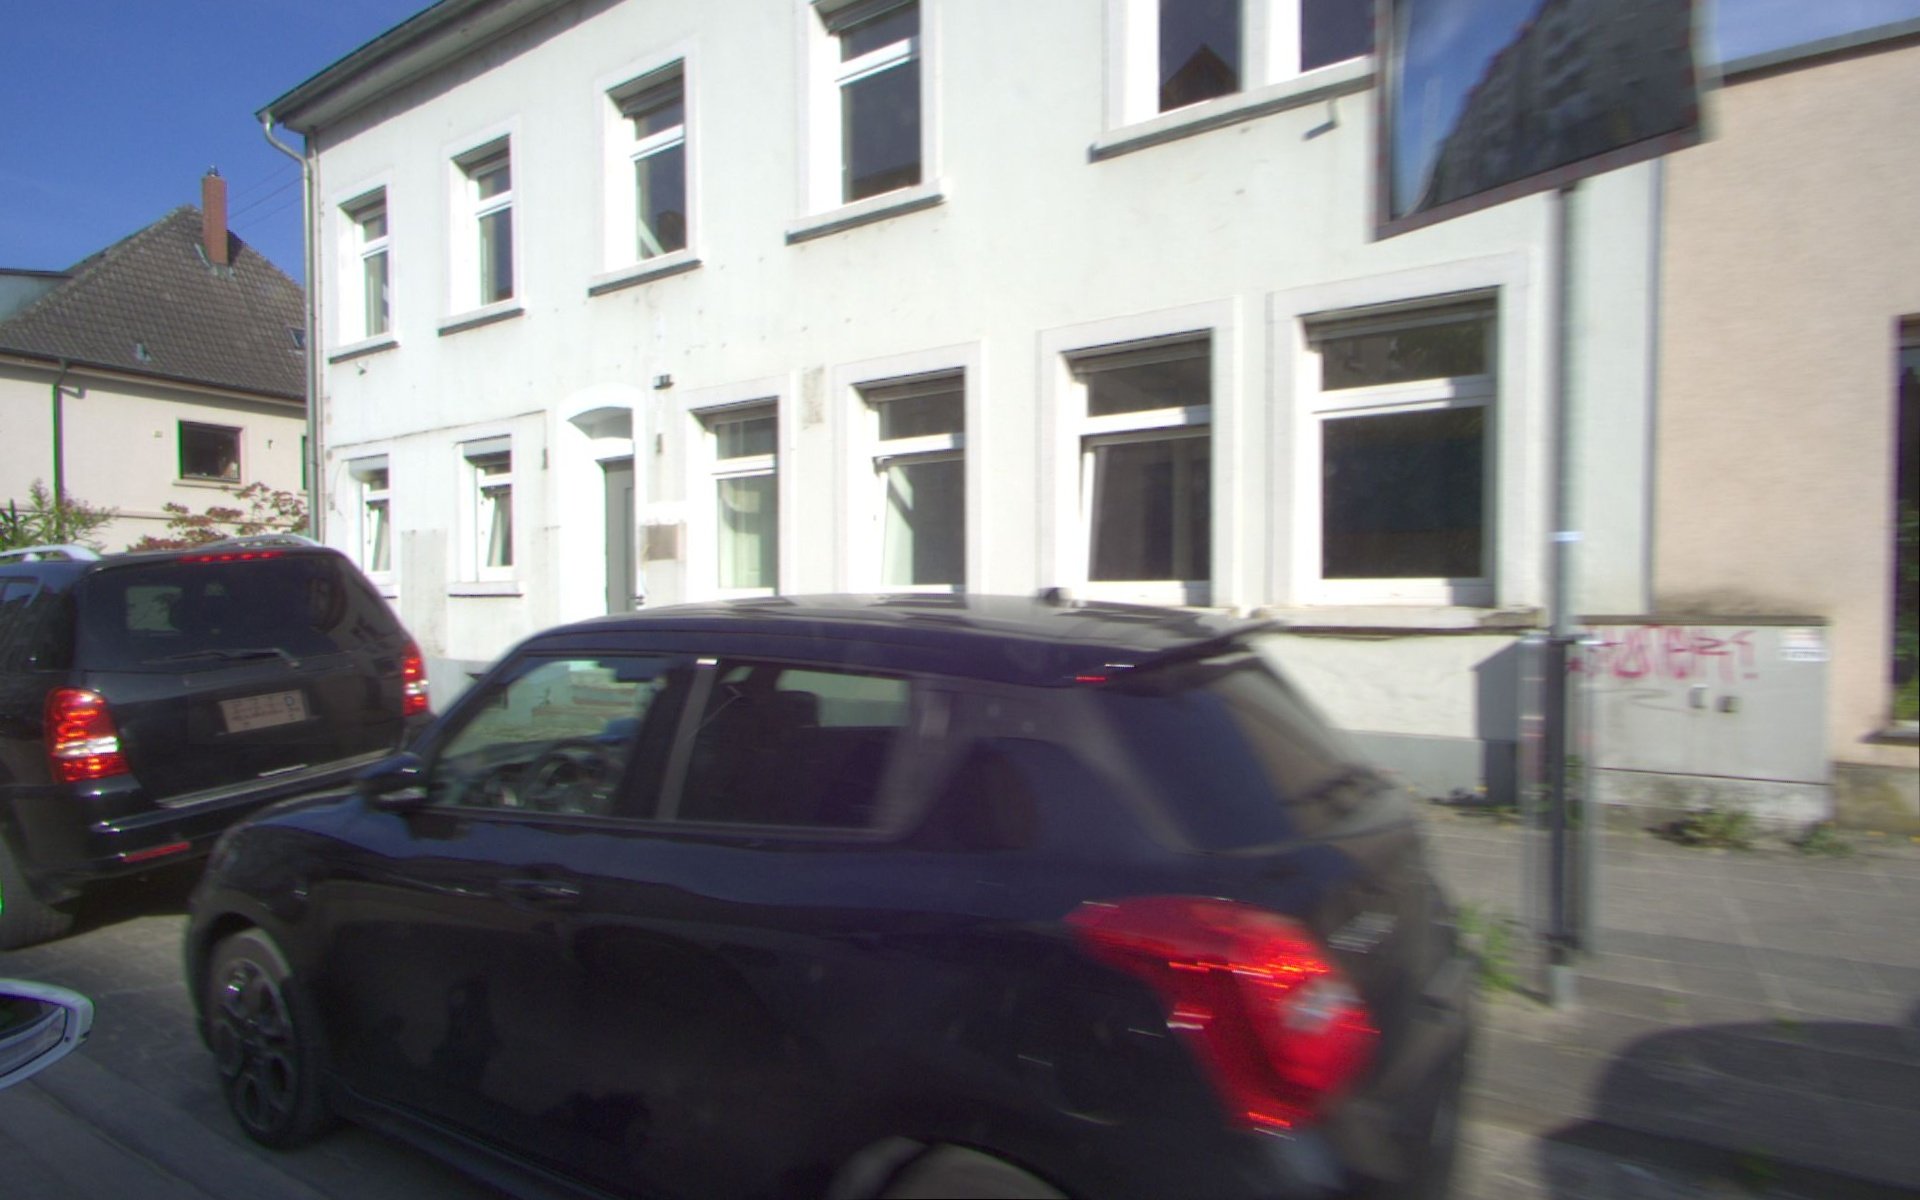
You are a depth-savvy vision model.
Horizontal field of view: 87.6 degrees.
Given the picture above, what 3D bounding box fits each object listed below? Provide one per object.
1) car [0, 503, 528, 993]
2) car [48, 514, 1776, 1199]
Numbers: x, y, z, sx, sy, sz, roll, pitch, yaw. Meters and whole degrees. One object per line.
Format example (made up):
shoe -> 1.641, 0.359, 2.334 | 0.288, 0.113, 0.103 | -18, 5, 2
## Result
car -> -4.861, 0.543, 5.973 | 4.546, 1.881, 2.069 | 0, 2, 34
car -> -0.714, 0.706, 2.876 | 4.547, 1.549, 1.585 | -1, 1, 32
